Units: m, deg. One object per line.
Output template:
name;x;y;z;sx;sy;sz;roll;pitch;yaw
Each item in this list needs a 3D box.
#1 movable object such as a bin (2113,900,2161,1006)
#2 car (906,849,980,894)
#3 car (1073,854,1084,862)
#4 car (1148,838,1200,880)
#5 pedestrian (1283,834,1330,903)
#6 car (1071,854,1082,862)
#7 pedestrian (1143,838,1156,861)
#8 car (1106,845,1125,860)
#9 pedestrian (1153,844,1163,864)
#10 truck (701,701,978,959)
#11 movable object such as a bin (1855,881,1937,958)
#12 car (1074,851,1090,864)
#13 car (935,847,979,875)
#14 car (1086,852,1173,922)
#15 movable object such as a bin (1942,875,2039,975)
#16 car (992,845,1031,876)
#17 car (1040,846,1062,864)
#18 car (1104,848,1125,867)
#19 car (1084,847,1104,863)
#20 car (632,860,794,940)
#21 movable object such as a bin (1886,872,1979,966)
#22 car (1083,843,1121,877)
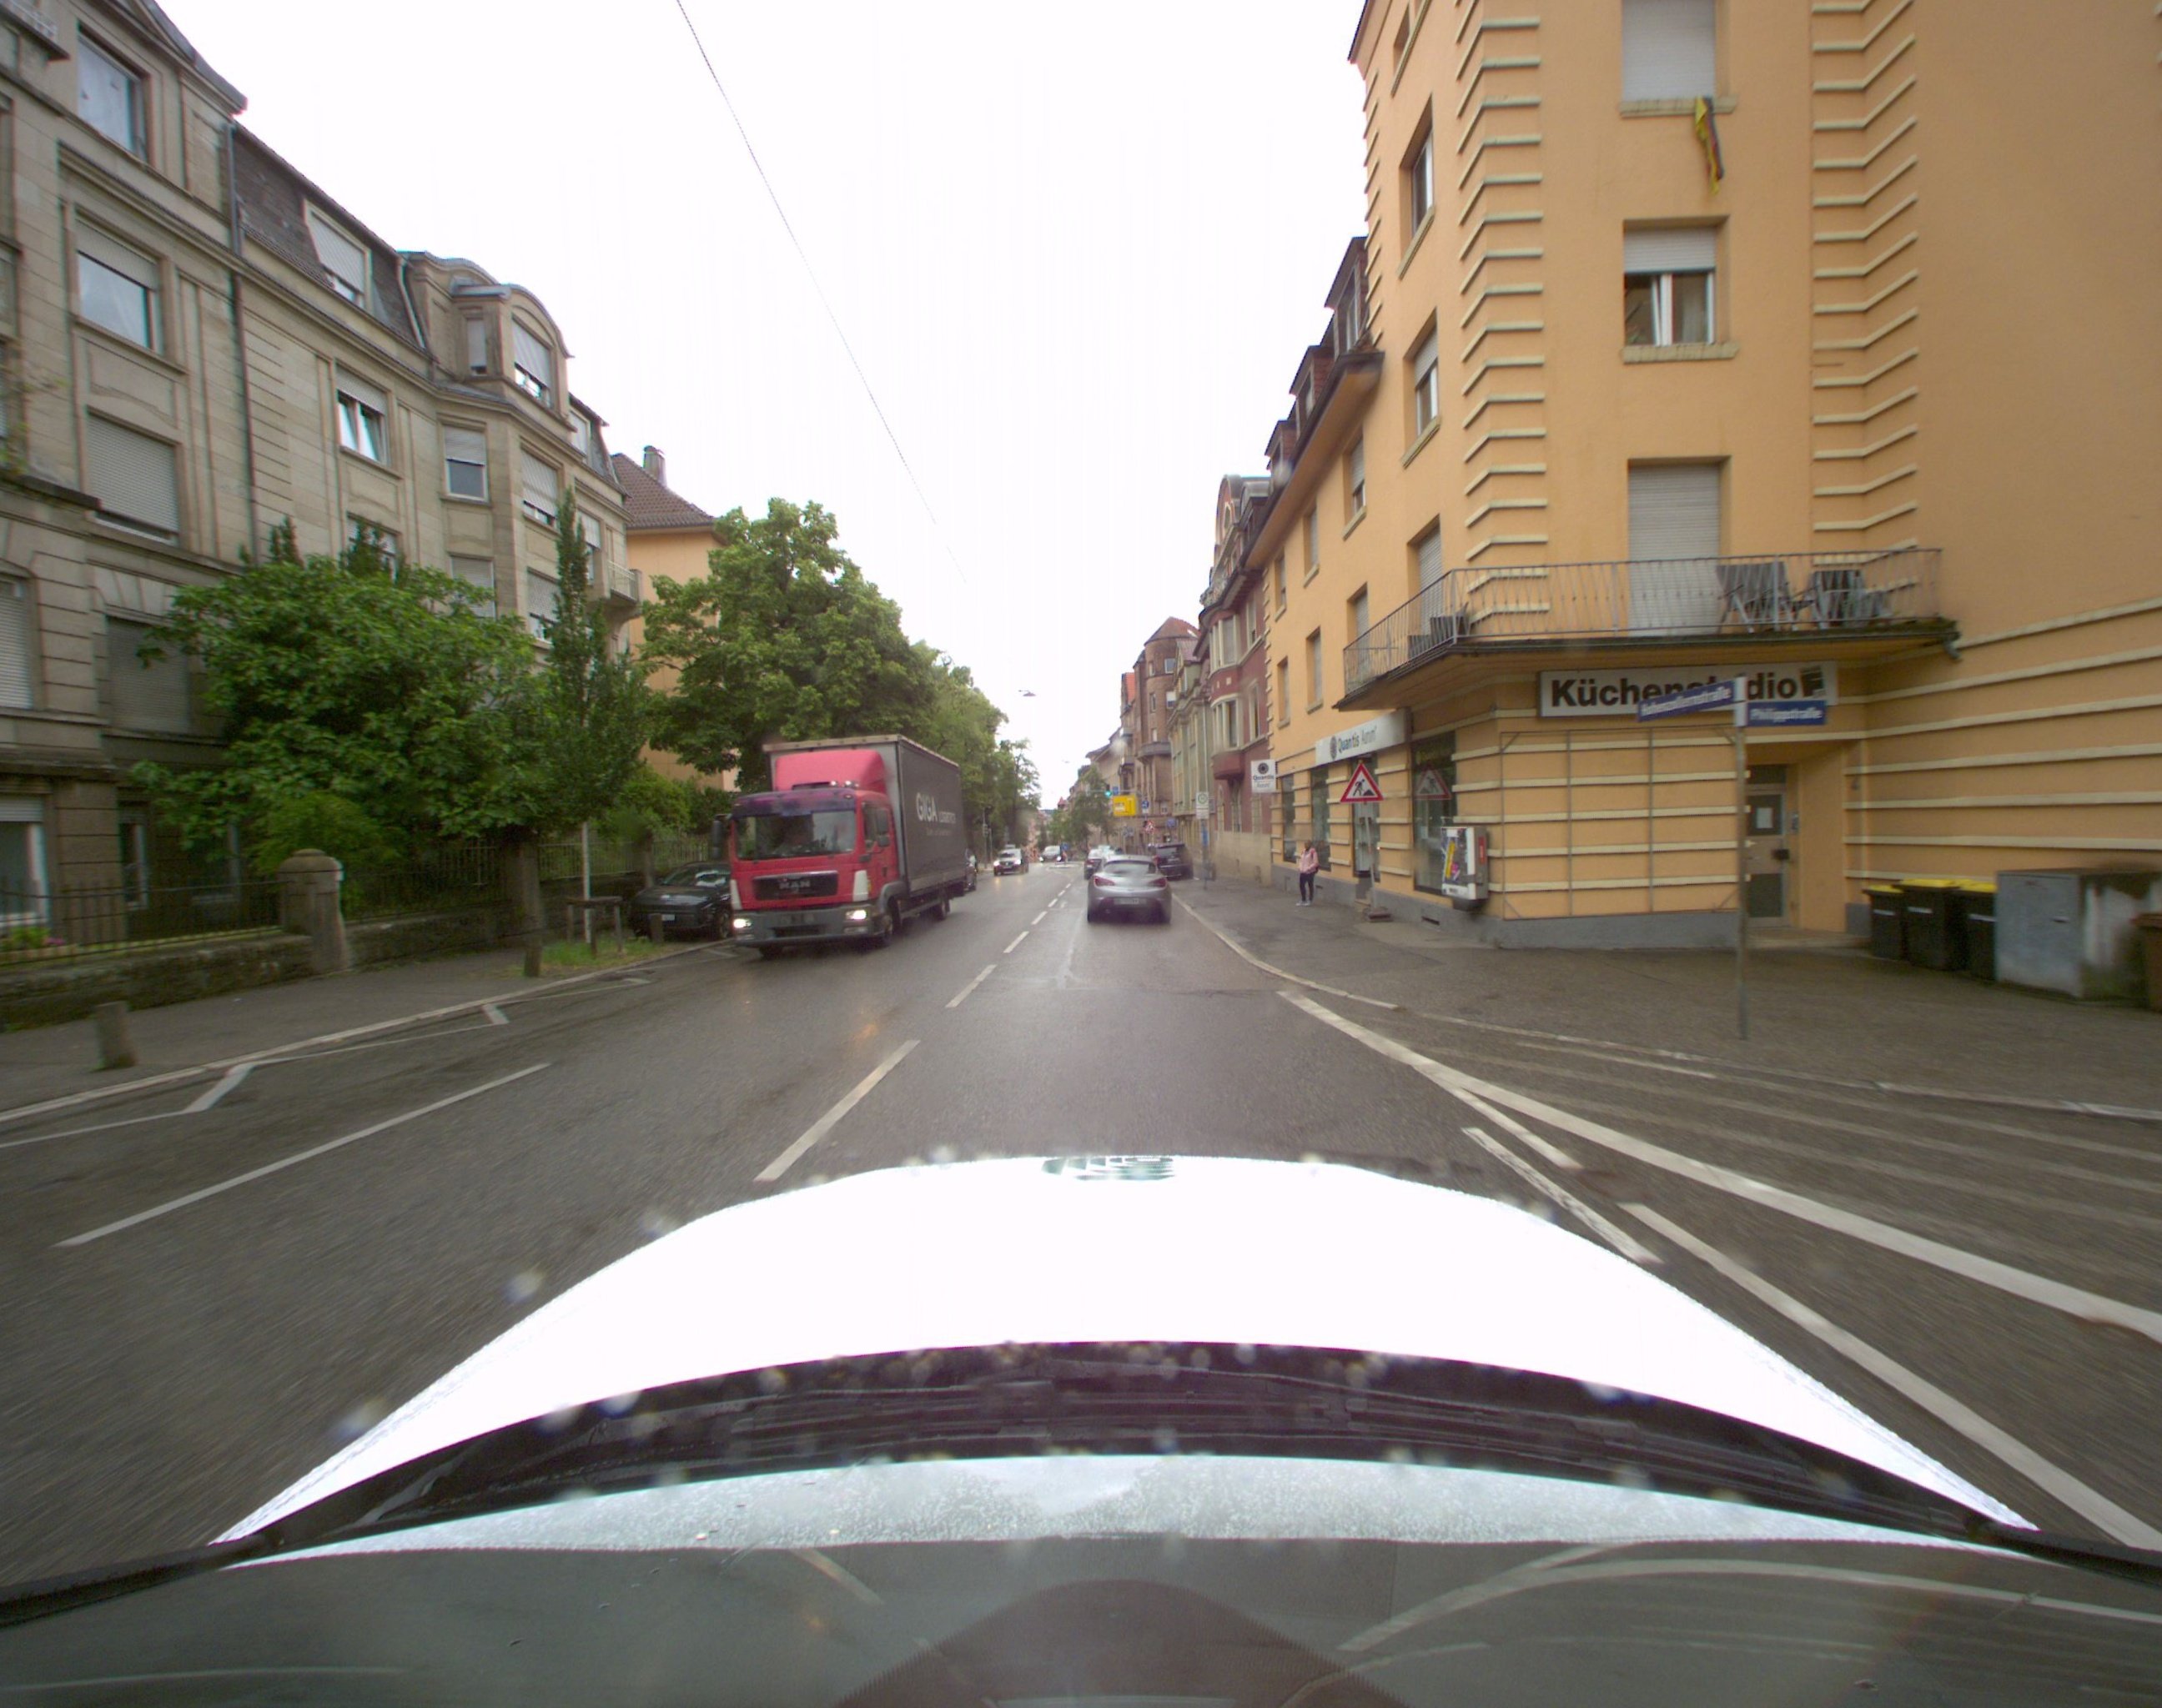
movable object such as a bin;10.306;0.932;7.678;0.503;0.930;0.513;-3;2;2
car;-4.963;0.620;29.859;1.766;1.467;4.748;-2;-1;1
car;-0.409;0.721;146.031;1.635;1.429;3.370;-2;0;-5
car;4.108;0.236;36.657;1.869;1.629;4.700;-5;0;2
pedestrian;5.395;0.352;19.501;0.768;1.589;0.708;-2;-1;-17
car;-0.824;0.801;151.118;1.634;1.469;3.852;-2;0;-4
pedestrian;5.483;-0.365;65.137;0.712;1.774;0.669;-4;1;21
car;3.901;-0.196;91.891;1.654;1.543;3.658;-4;-1;-5
pedestrian;6.139;-0.009;64.905;0.591;1.584;0.669;-4;1;20
truck;-4.353;-0.386;17.340;2.638;3.854;9.310;-4;0;2
movable object such as a bin;10.376;0.826;10.385;0.503;0.918;0.513;1;2;2
car;0.086;0.418;103.621;1.654;1.543;3.658;-4;-1;-5
car;-7.260;0.387;47.995;1.734;1.559;4.304;0;0;2
car;1.115;0.697;19.016;1.804;1.449;3.872;-1;0;3
movable object such as a bin;10.197;0.785;9.144;0.503;1.041;0.513;-3;2;2
car;-4.087;0.345;48.494;1.766;1.517;4.592;-2;2;1
car;-2.605;0.033;72.120;1.810;1.517;4.547;-1;0;-1
car;2.841;0.296;68.793;1.765;1.504;3.871;-1;0;2
car;1.327;0.130;82.738;1.653;1.543;3.660;-4;-1;-3
car;-8.159;0.951;18.534;1.736;1.559;4.300;1;0;-1
movable object such as a bin;10.244;0.775;9.812;0.503;1.056;0.513;1;4;2
car;1.051;0.285;39.403;1.765;1.504;3.871;-1;0;2
